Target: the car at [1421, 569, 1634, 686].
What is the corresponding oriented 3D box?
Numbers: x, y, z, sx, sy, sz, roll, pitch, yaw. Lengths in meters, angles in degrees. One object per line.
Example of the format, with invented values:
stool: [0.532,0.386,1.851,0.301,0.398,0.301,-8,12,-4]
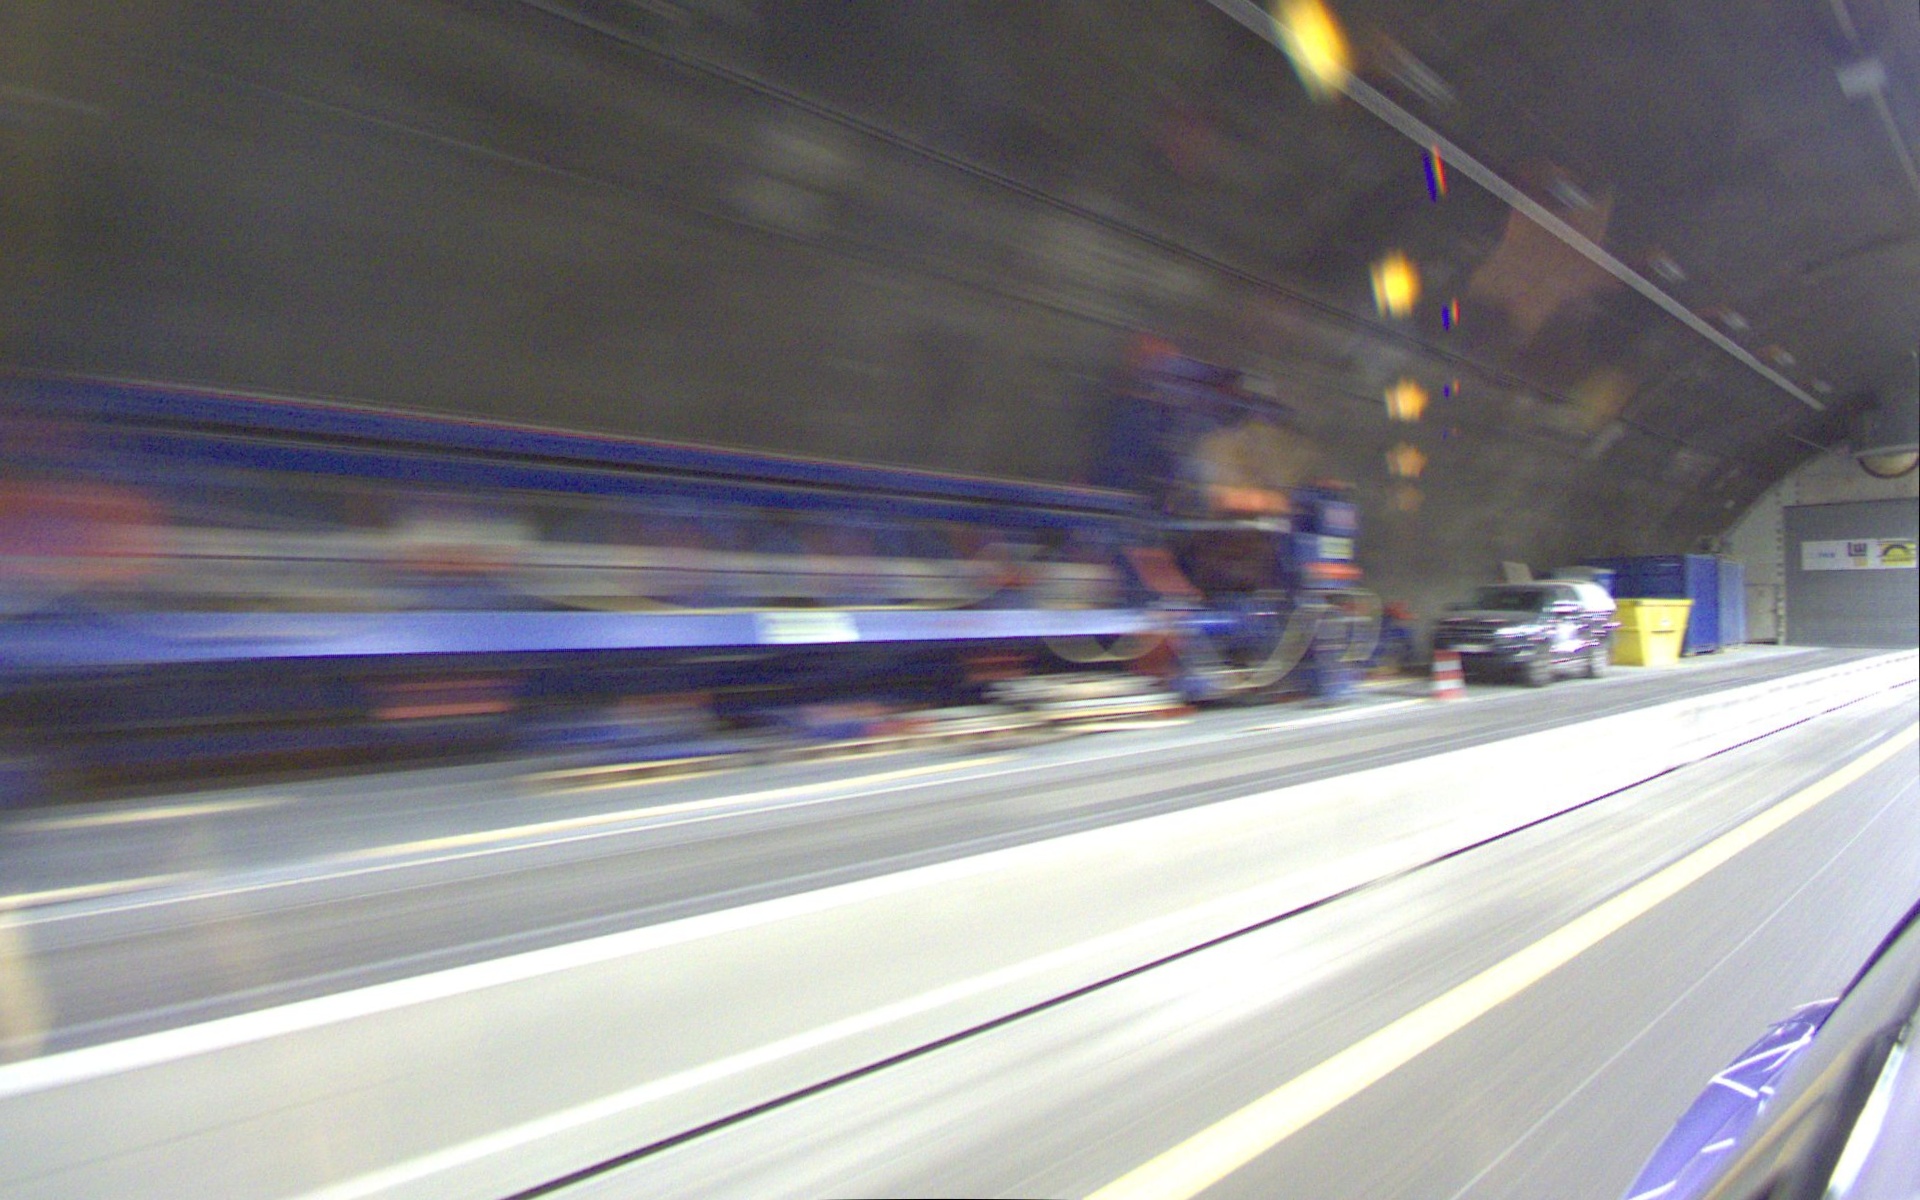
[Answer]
car: [10.594,0.453,18.682,5.349,1.882,1.830,0,-1,-42]
